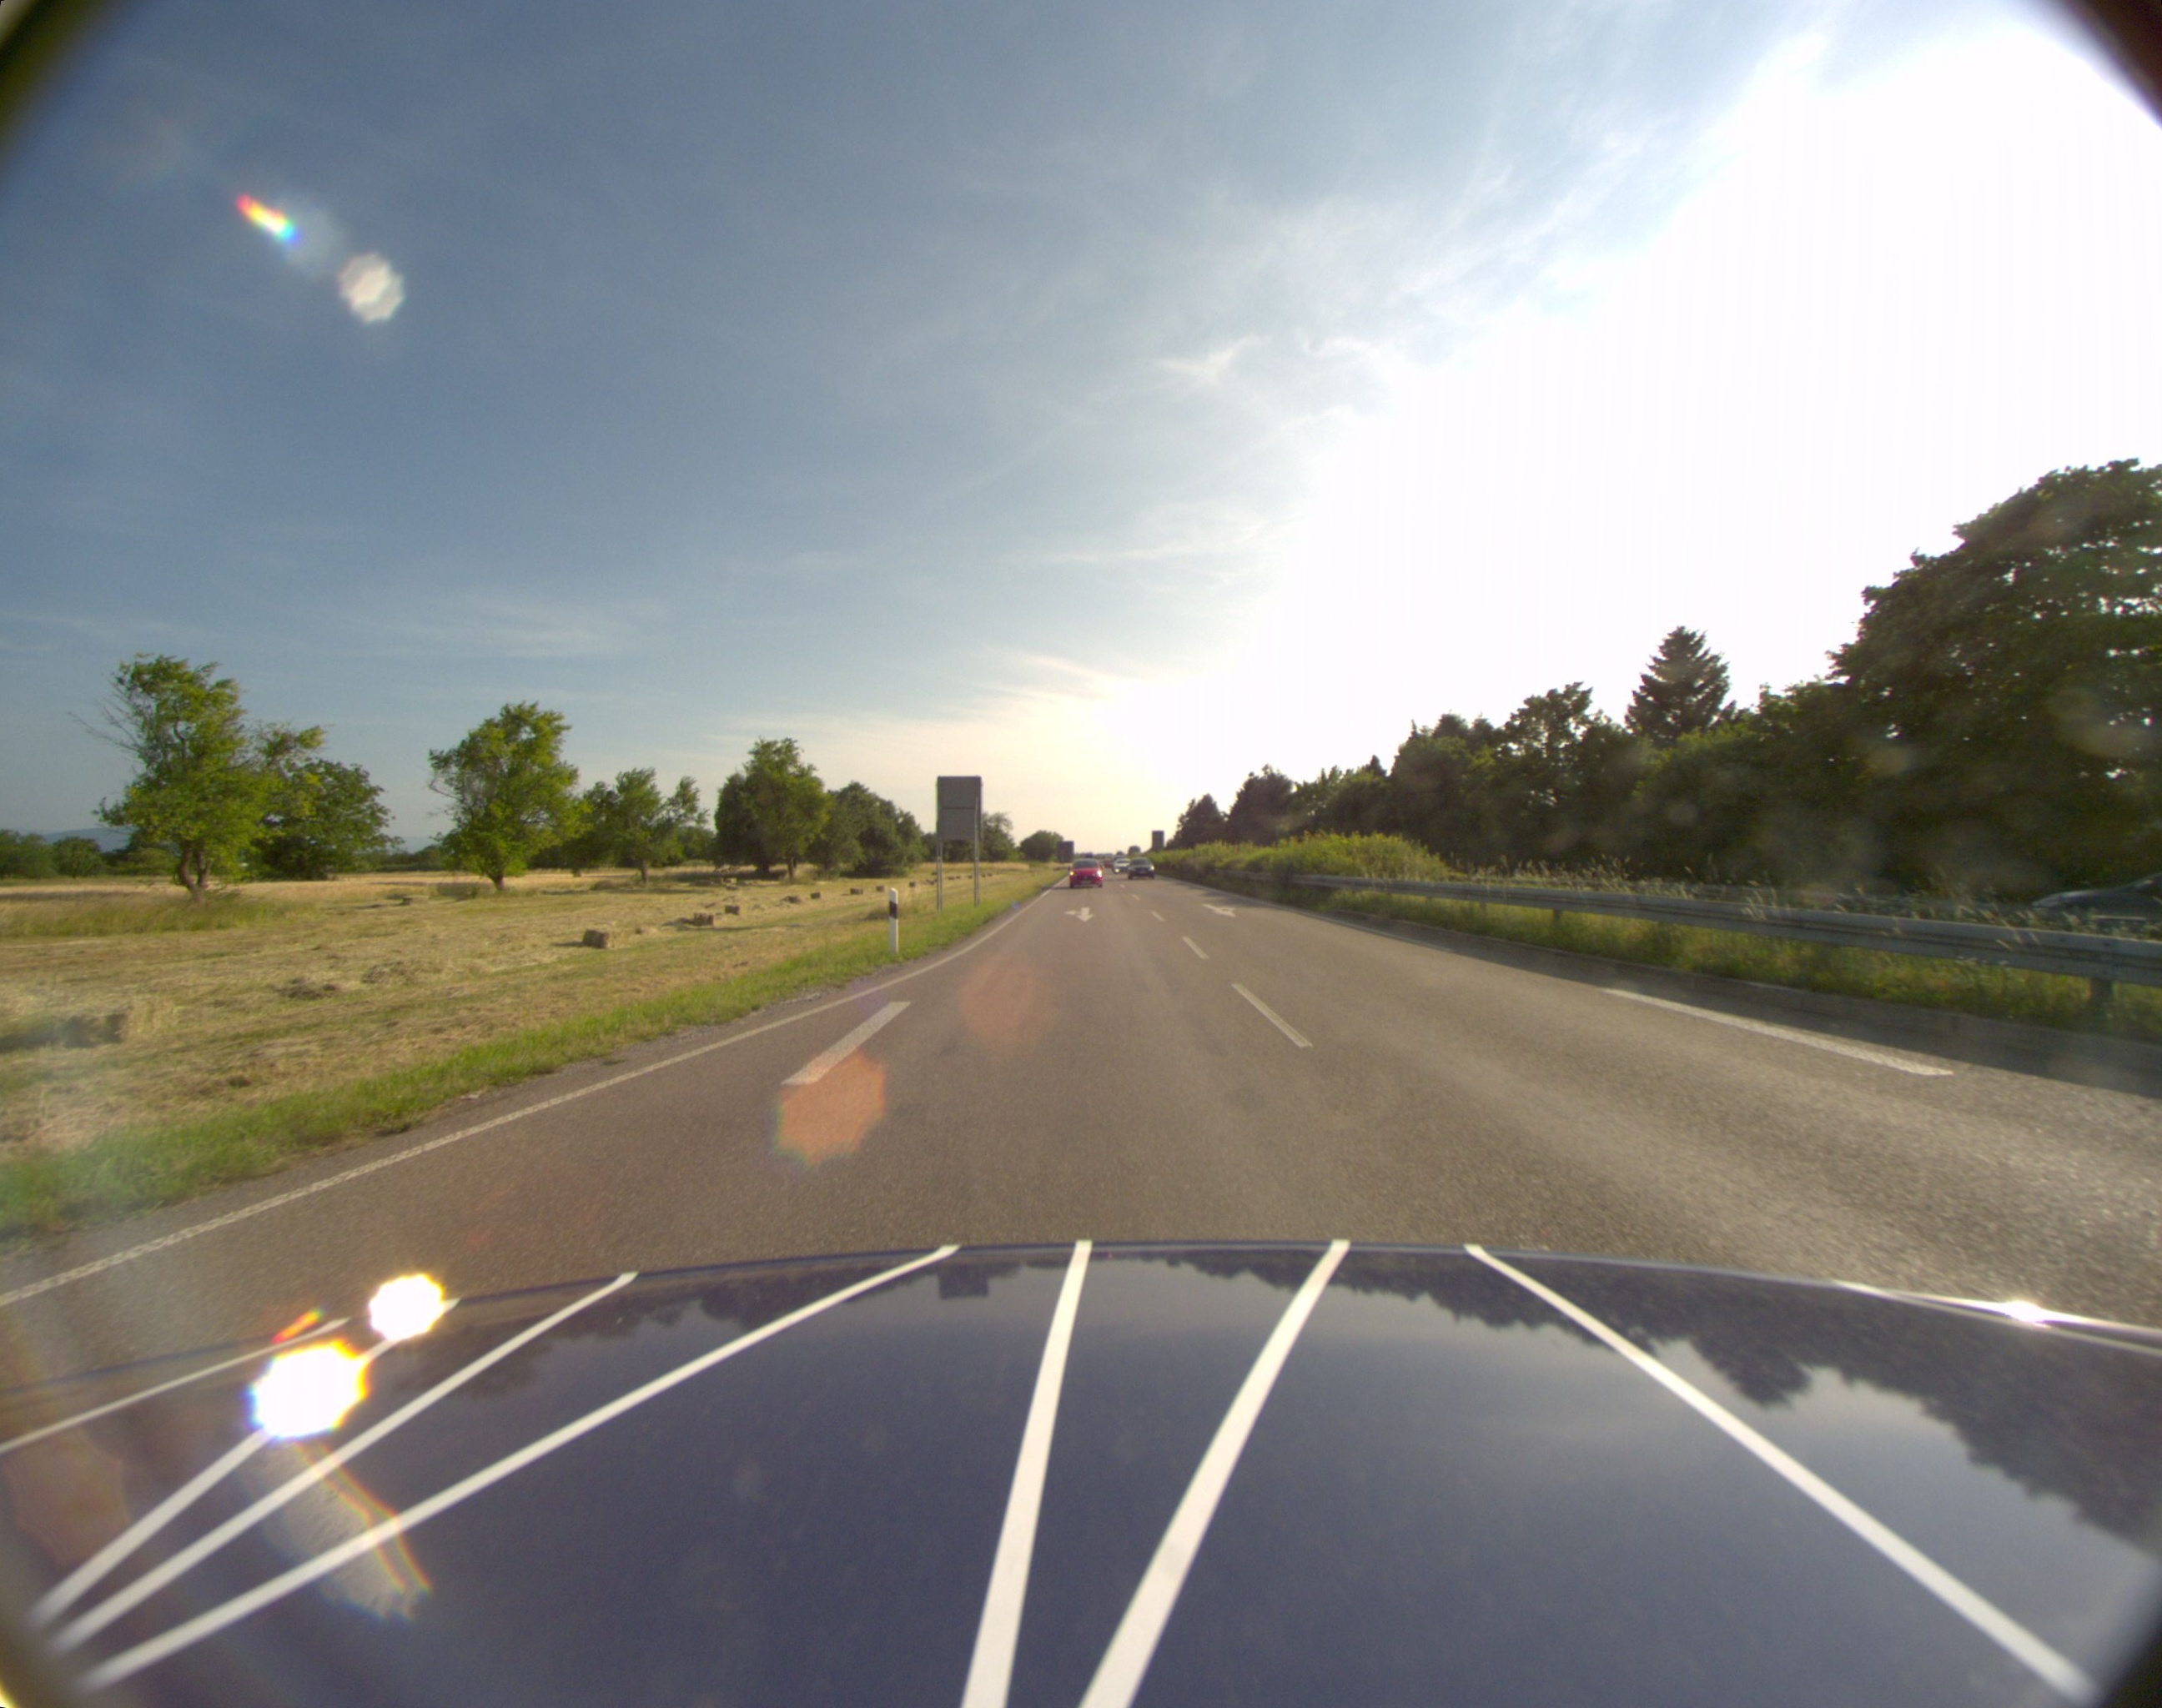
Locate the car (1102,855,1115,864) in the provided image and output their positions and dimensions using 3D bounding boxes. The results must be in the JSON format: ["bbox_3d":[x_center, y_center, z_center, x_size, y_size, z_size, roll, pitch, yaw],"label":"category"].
[{"bbox_3d":[4.538,0.961,126.349,1.998,1.412,4.000,-2,0,2],"label":"car"}]

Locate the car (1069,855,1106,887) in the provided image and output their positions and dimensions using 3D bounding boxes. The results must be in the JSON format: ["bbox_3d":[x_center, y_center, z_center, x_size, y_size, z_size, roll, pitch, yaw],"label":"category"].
[{"bbox_3d":[0.387,0.857,40.424,1.821,1.565,4.000,-2,0,2],"label":"car"}]

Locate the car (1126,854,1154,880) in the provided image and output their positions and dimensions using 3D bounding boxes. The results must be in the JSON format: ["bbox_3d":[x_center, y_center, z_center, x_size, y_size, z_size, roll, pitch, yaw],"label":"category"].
[{"bbox_3d":[4.082,0.846,53.019,1.693,1.695,4.000,-2,0,1],"label":"car"}]

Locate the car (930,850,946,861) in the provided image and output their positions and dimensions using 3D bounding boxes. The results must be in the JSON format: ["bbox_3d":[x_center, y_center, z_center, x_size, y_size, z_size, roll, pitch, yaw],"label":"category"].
[{"bbox_3d":[-24.505,0.205,130.337,1.998,1.739,4.000,-2,0,0],"label":"car"}]

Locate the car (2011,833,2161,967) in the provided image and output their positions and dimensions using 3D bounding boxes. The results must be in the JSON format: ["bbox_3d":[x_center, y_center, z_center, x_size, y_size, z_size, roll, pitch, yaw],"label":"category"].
[{"bbox_3d":[13.087,0.496,7.755,1.998,1.477,4.227,-2,0,0],"label":"car"}]

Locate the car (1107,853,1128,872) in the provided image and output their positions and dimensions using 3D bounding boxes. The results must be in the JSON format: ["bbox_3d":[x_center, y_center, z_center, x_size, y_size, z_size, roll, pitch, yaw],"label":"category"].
[{"bbox_3d":[3.568,0.825,75.390,1.998,1.762,4.000,-2,0,2],"label":"car"}]
